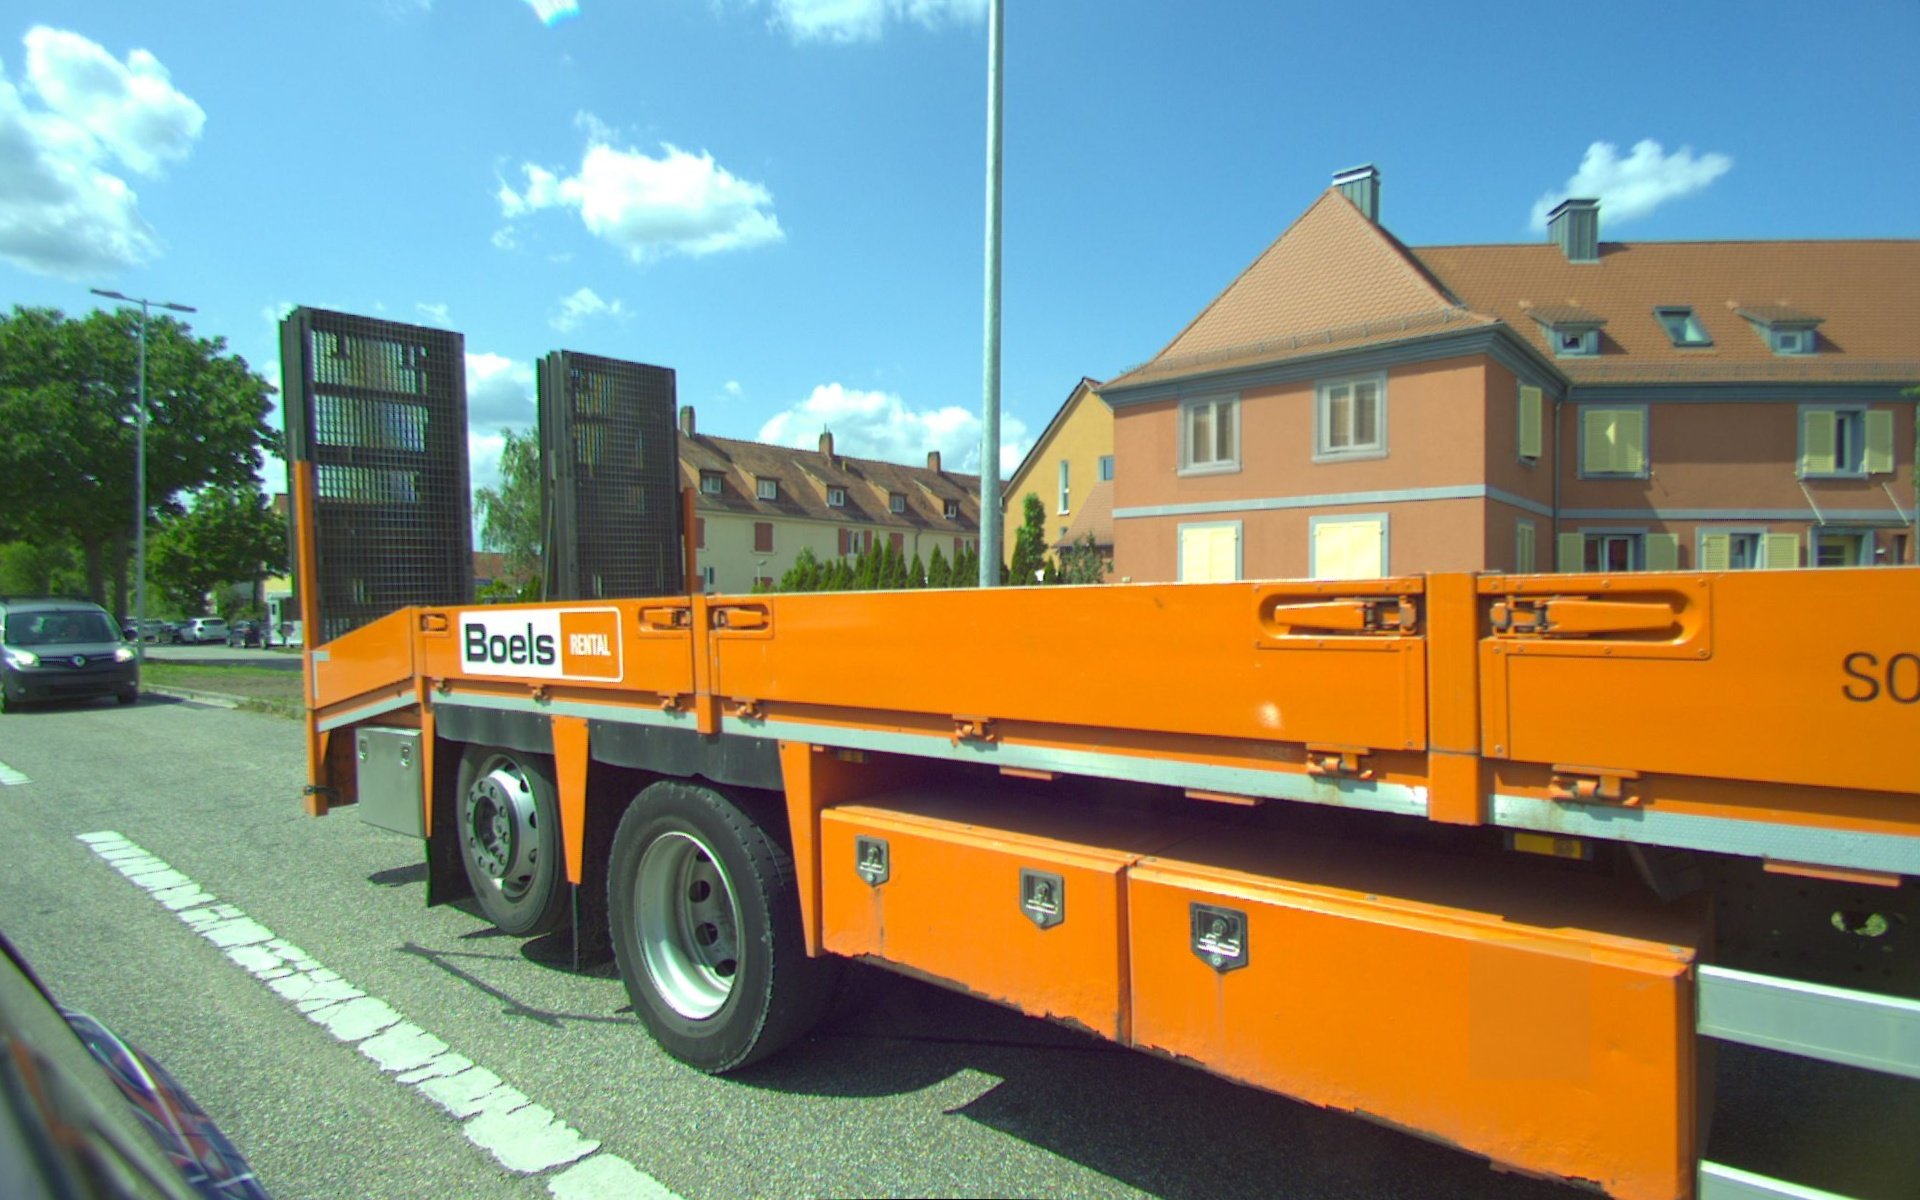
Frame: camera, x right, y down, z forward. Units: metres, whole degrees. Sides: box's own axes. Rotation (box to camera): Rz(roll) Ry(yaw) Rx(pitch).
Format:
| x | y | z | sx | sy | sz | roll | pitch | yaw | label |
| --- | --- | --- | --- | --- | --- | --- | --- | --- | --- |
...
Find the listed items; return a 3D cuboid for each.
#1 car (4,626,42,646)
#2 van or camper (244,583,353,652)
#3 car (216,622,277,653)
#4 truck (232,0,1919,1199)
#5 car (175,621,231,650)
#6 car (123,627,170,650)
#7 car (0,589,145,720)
| x | y | z | sx | sy | sz | roll | pitch | yaw | label |
| --- | --- | --- | --- | --- | --- | --- | --- | --- | --- |
| -82.845 | 3.148 | 89.478 | 4.307 | 1.624 | 1.645 | 0 | 2 | 37 | car |
| -32.464 | 0.878 | 49.539 | 7.311 | 3.135 | 2.237 | -2 | 1 | 39 | van or camper |
| -37.845 | 1.959 | 53.681 | 3.989 | 1.496 | 1.620 | 0 | 2 | 40 | car |
| 1.110 | -0.544 | 3.133 | 11.064 | 3.439 | 3.039 | 0 | 2 | 42 | truck |
| -44.321 | 2.029 | 59.215 | 4.120 | 1.496 | 1.672 | 0 | 2 | 40 | car |
| -53.564 | 2.541 | 66.628 | 4.527 | 1.380 | 1.496 | -1 | 1 | 40 | car |
| -15.654 | 0.810 | 17.313 | 4.537 | 1.918 | 1.746 | 0 | 2 | 39 | car |
